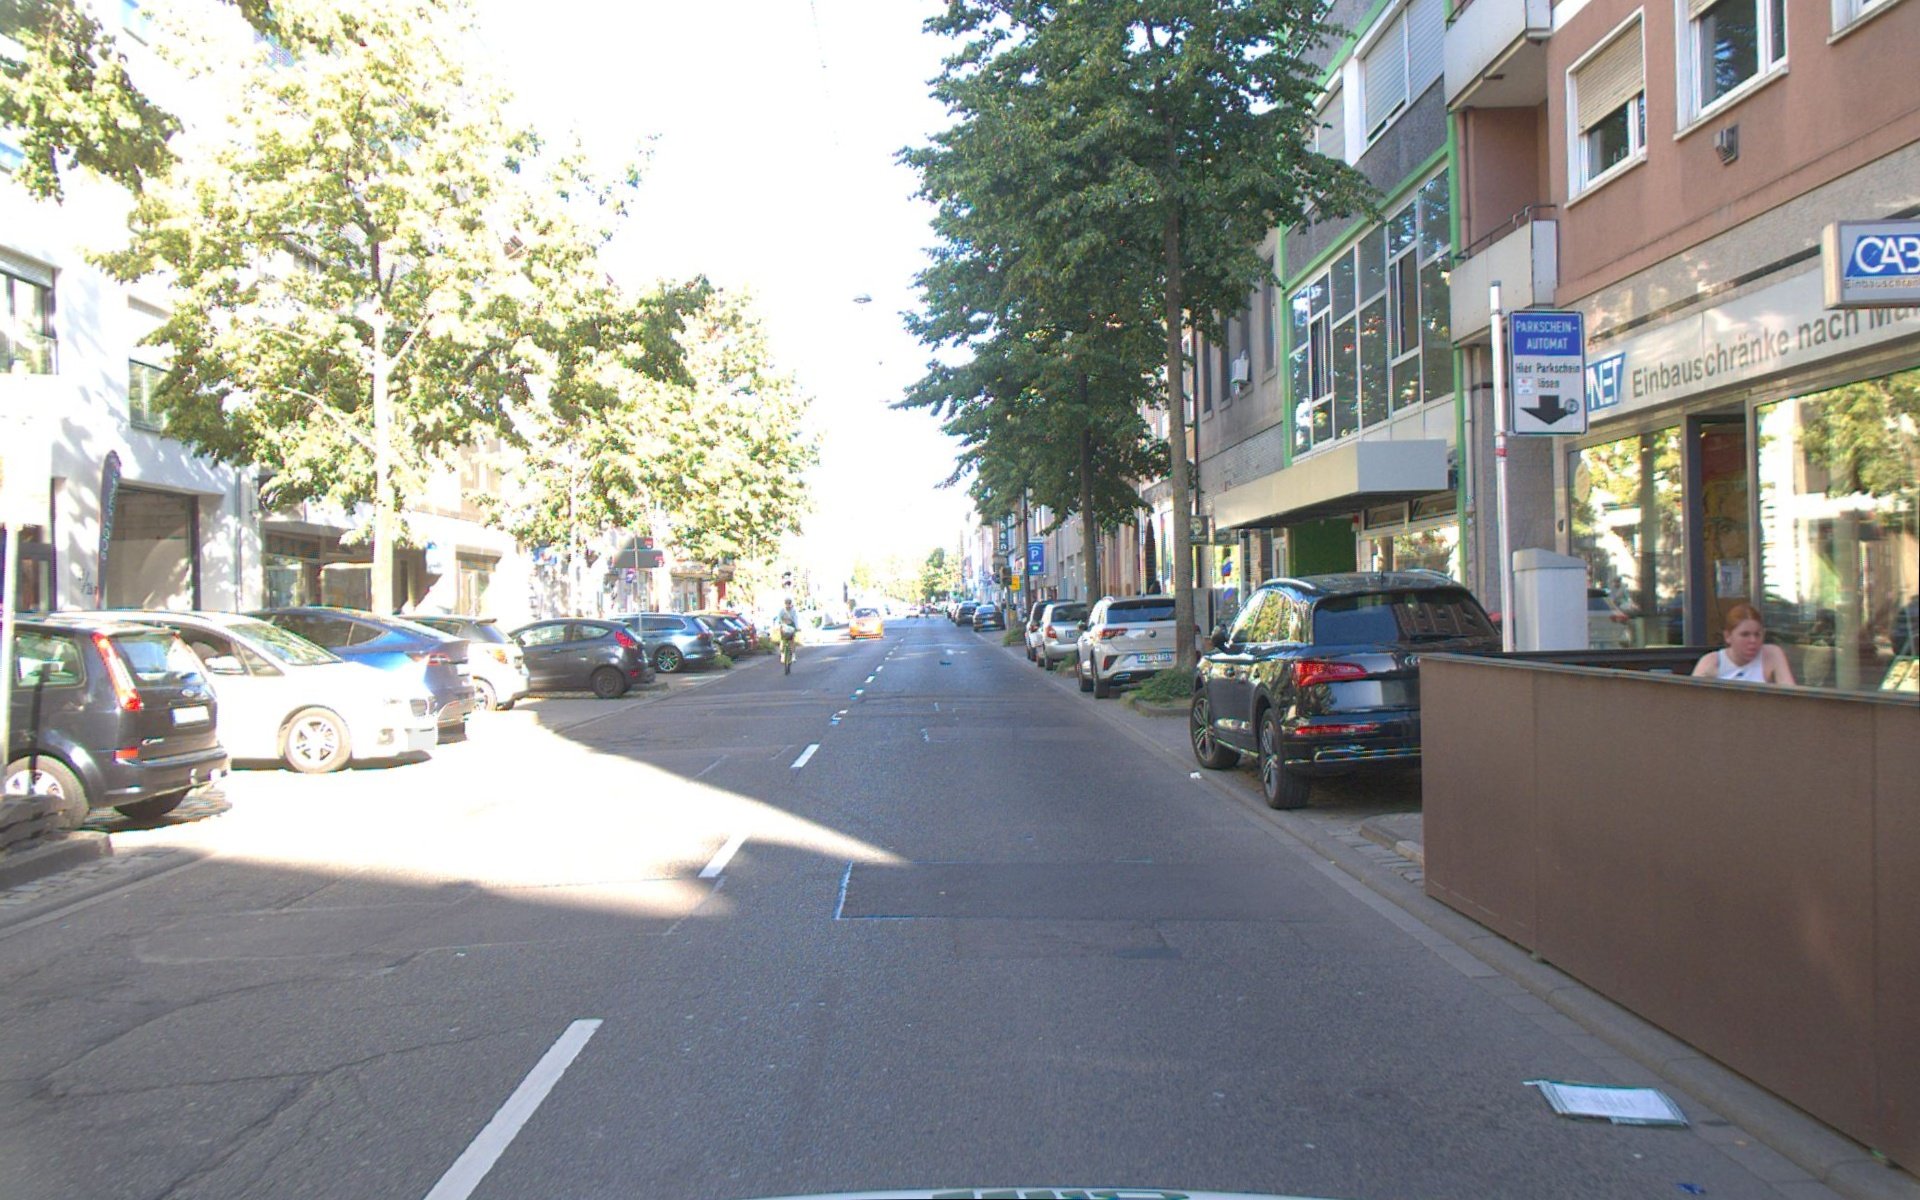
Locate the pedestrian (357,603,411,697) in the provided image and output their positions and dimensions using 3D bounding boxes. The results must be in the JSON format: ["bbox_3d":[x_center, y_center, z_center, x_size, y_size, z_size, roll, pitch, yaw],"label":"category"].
[{"bbox_3d":[-11.507,0.996,33.069,0.684,1.829,0.746,-2,0,10],"label":"pedestrian"}]

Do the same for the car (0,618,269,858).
[{"bbox_3d":[-7.341,0.989,12.152,3.722,1.585,1.791,-2,0,-1],"label":"car"}]

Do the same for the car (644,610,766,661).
[{"bbox_3d":[-8.206,1.132,53.416,3.672,1.494,1.739,-1,0,-2],"label":"car"}]

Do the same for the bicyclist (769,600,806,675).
[{"bbox_3d":[-4.156,0.888,39.815,0.710,1.730,1.282,-2,0,-1],"label":"bicyclist"}]

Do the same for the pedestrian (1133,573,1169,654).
[{"bbox_3d":[4.383,0.304,37.982,0.610,1.795,0.771,-4,0,0],"label":"pedestrian"}]

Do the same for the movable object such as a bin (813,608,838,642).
[{"bbox_3d":[-6.150,1.132,75.594,1.021,1.497,1.452,-2,0,-2],"label":"movable object such as a bin"}]

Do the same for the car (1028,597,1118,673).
[{"bbox_3d":[2.626,0.784,39.211,1.582,1.555,4.233,-5,0,-2],"label":"car"}]

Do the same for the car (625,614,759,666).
[{"bbox_3d":[-8.210,1.223,50.883,3.762,1.454,1.789,-1,0,0],"label":"car"}]

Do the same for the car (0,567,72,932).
[{"bbox_3d":[-6.938,0.808,8.104,4.022,1.868,2.038,-1,0,-1],"label":"car"}]

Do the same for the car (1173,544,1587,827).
[{"bbox_3d":[3.116,0.566,13.365,1.954,1.718,4.515,-5,0,-2],"label":"car"}]

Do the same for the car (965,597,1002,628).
[{"bbox_3d":[1.322,0.690,95.009,1.879,1.504,4.963,-6,0,-1],"label":"car"}]

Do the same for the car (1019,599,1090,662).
[{"bbox_3d":[2.551,0.805,45.165,1.581,1.555,3.059,-4,0,-2],"label":"car"}]

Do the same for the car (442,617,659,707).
[{"bbox_3d":[-7.564,1.126,30.850,3.710,1.484,1.777,-2,0,-9],"label":"car"}]

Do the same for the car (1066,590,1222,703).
[{"bbox_3d":[2.896,0.694,26.900,1.845,1.553,4.232,-4,0,-2],"label":"car"}]

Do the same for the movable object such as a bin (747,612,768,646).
[{"bbox_3d":[-8.366,1.178,68.449,0.739,1.364,0.805,-2,0,-2],"label":"movable object such as a bin"}]

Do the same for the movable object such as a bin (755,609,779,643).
[{"bbox_3d":[-8.843,1.199,75.633,0.944,1.497,1.143,-2,0,-2],"label":"movable object such as a bin"}]

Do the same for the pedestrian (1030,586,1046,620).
[{"bbox_3d":[3.821,0.148,80.910,0.569,1.586,1.020,-5,0,-2],"label":"pedestrian"}]

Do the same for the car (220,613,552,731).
[{"bbox_3d":[-8.264,1.007,24.140,4.162,1.484,1.978,-2,0,-5],"label":"car"}]

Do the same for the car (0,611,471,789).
[{"bbox_3d":[-7.512,0.985,17.115,4.278,1.597,1.946,-2,0,-1],"label":"car"}]

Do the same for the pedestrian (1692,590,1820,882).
[{"bbox_3d":[3.828,0.635,7.977,0.463,1.354,0.483,-1,0,18],"label":"pedestrian"}]

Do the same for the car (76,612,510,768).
[{"bbox_3d":[-7.755,1.018,19.559,4.278,1.597,1.980,-2,0,-1],"label":"car"}]

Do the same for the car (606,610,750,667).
[{"bbox_3d":[-8.167,1.099,48.138,3.839,1.511,1.771,-1,0,0],"label":"car"}]

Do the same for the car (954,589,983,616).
[{"bbox_3d":[0.571,0.149,114.528,1.933,1.755,4.823,-1,0,-1],"label":"car"}]

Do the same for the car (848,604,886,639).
[{"bbox_3d":[-4.534,1.026,81.170,1.625,1.561,3.759,-4,0,-1],"label":"car"}]

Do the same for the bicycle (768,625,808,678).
[{"bbox_3d":[-4.144,1.229,39.898,0.710,1.189,2.197,-2,0,-1],"label":"bicycle"}]

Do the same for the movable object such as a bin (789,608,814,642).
[{"bbox_3d":[-7.223,1.126,75.400,1.021,1.497,1.143,-2,0,-2],"label":"movable object such as a bin"}]

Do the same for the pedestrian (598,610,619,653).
[{"bbox_3d":[-11.886,1.051,55.964,0.497,1.433,0.825,-1,0,3],"label":"pedestrian"}]

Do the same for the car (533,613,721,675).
[{"bbox_3d":[-8.331,1.095,41.662,4.403,1.484,1.789,0,0,-3],"label":"car"}]

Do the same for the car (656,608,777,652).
[{"bbox_3d":[-8.917,1.098,60.836,4.116,1.494,1.740,-1,0,1],"label":"car"}]
